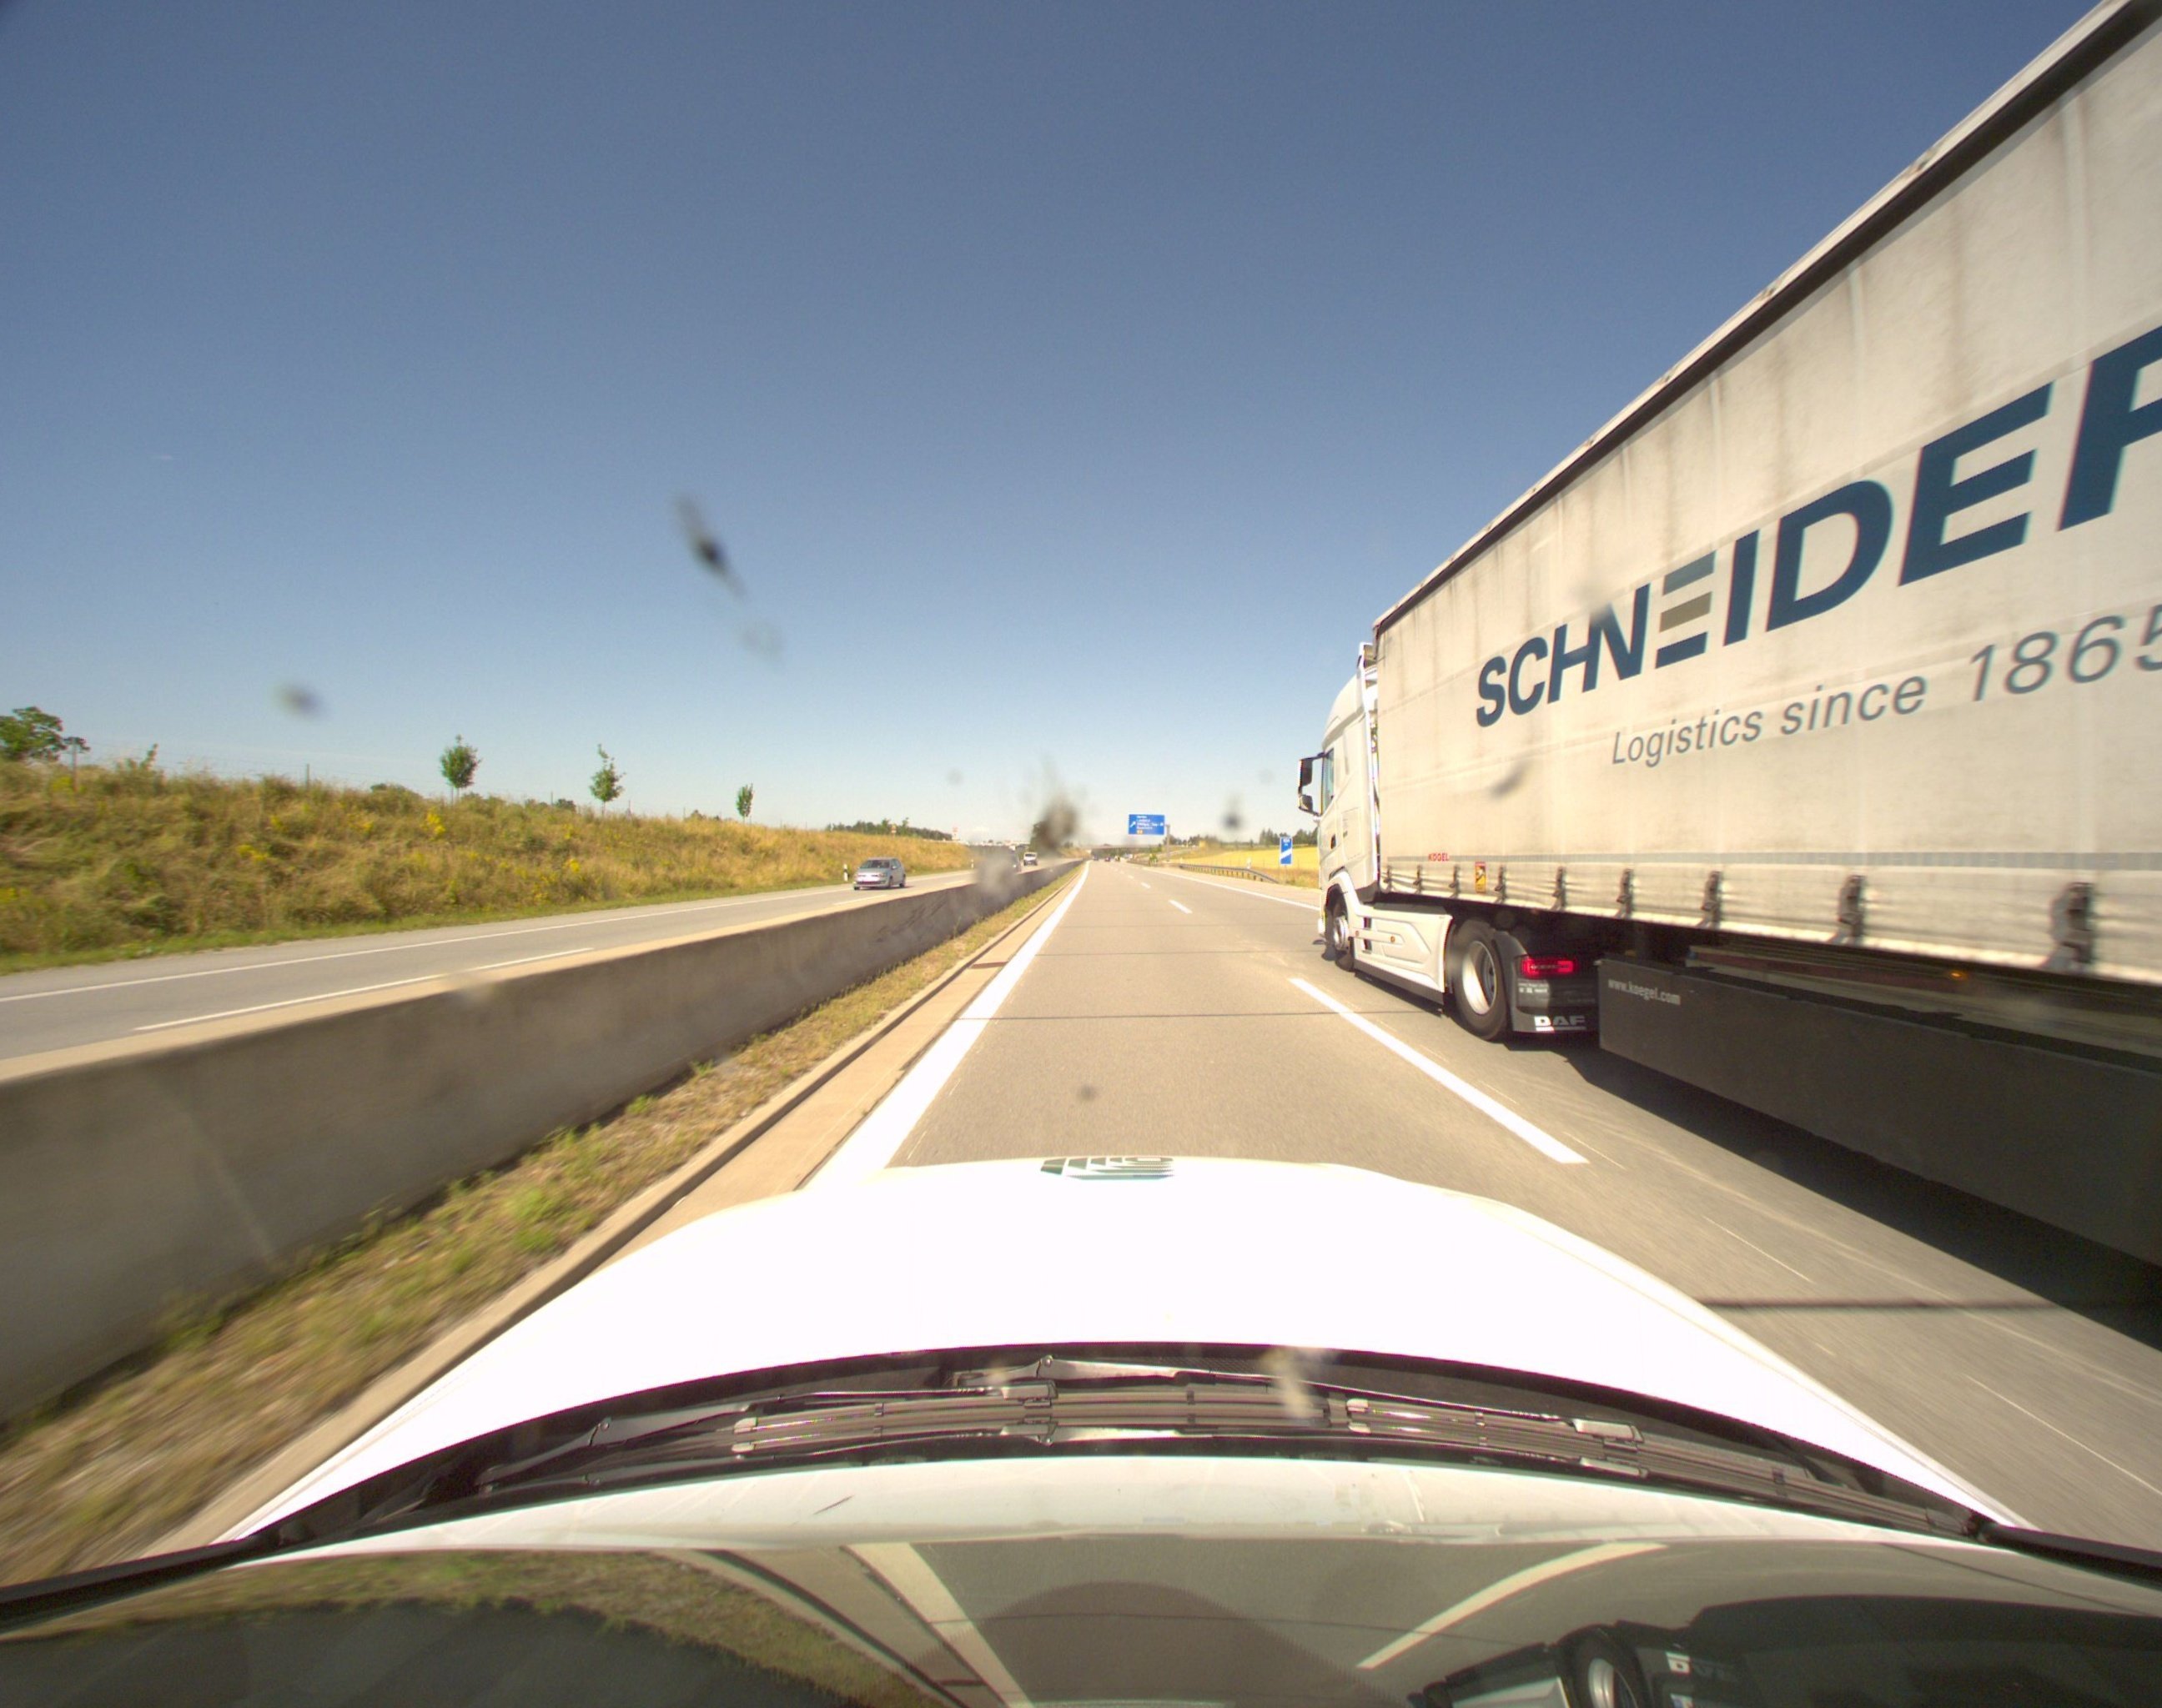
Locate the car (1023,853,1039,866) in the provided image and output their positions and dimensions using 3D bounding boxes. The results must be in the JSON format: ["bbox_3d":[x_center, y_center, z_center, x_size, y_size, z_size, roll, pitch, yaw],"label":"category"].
[{"bbox_3d":[-7.631,0.766,124.197,2.228,1.934,5.790,0,0,-2],"label":"car"}]

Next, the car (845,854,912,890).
[{"bbox_3d":[-9.300,0.790,37.747,1.873,1.502,4.565,-2,0,0],"label":"car"}]

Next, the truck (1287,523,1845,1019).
[{"bbox_3d":[4.738,-0.677,9.757,3.071,4.014,6.190,-1,0,1],"label":"truck"}]

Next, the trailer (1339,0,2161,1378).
[{"bbox_3d":[4.493,-0.745,2.235,3.164,4.294,15.467,-1,0,2],"label":"trailer"}]

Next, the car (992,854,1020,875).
[{"bbox_3d":[-5.812,0.804,63.551,1.874,1.575,4.561,0,0,-2],"label":"car"}]
